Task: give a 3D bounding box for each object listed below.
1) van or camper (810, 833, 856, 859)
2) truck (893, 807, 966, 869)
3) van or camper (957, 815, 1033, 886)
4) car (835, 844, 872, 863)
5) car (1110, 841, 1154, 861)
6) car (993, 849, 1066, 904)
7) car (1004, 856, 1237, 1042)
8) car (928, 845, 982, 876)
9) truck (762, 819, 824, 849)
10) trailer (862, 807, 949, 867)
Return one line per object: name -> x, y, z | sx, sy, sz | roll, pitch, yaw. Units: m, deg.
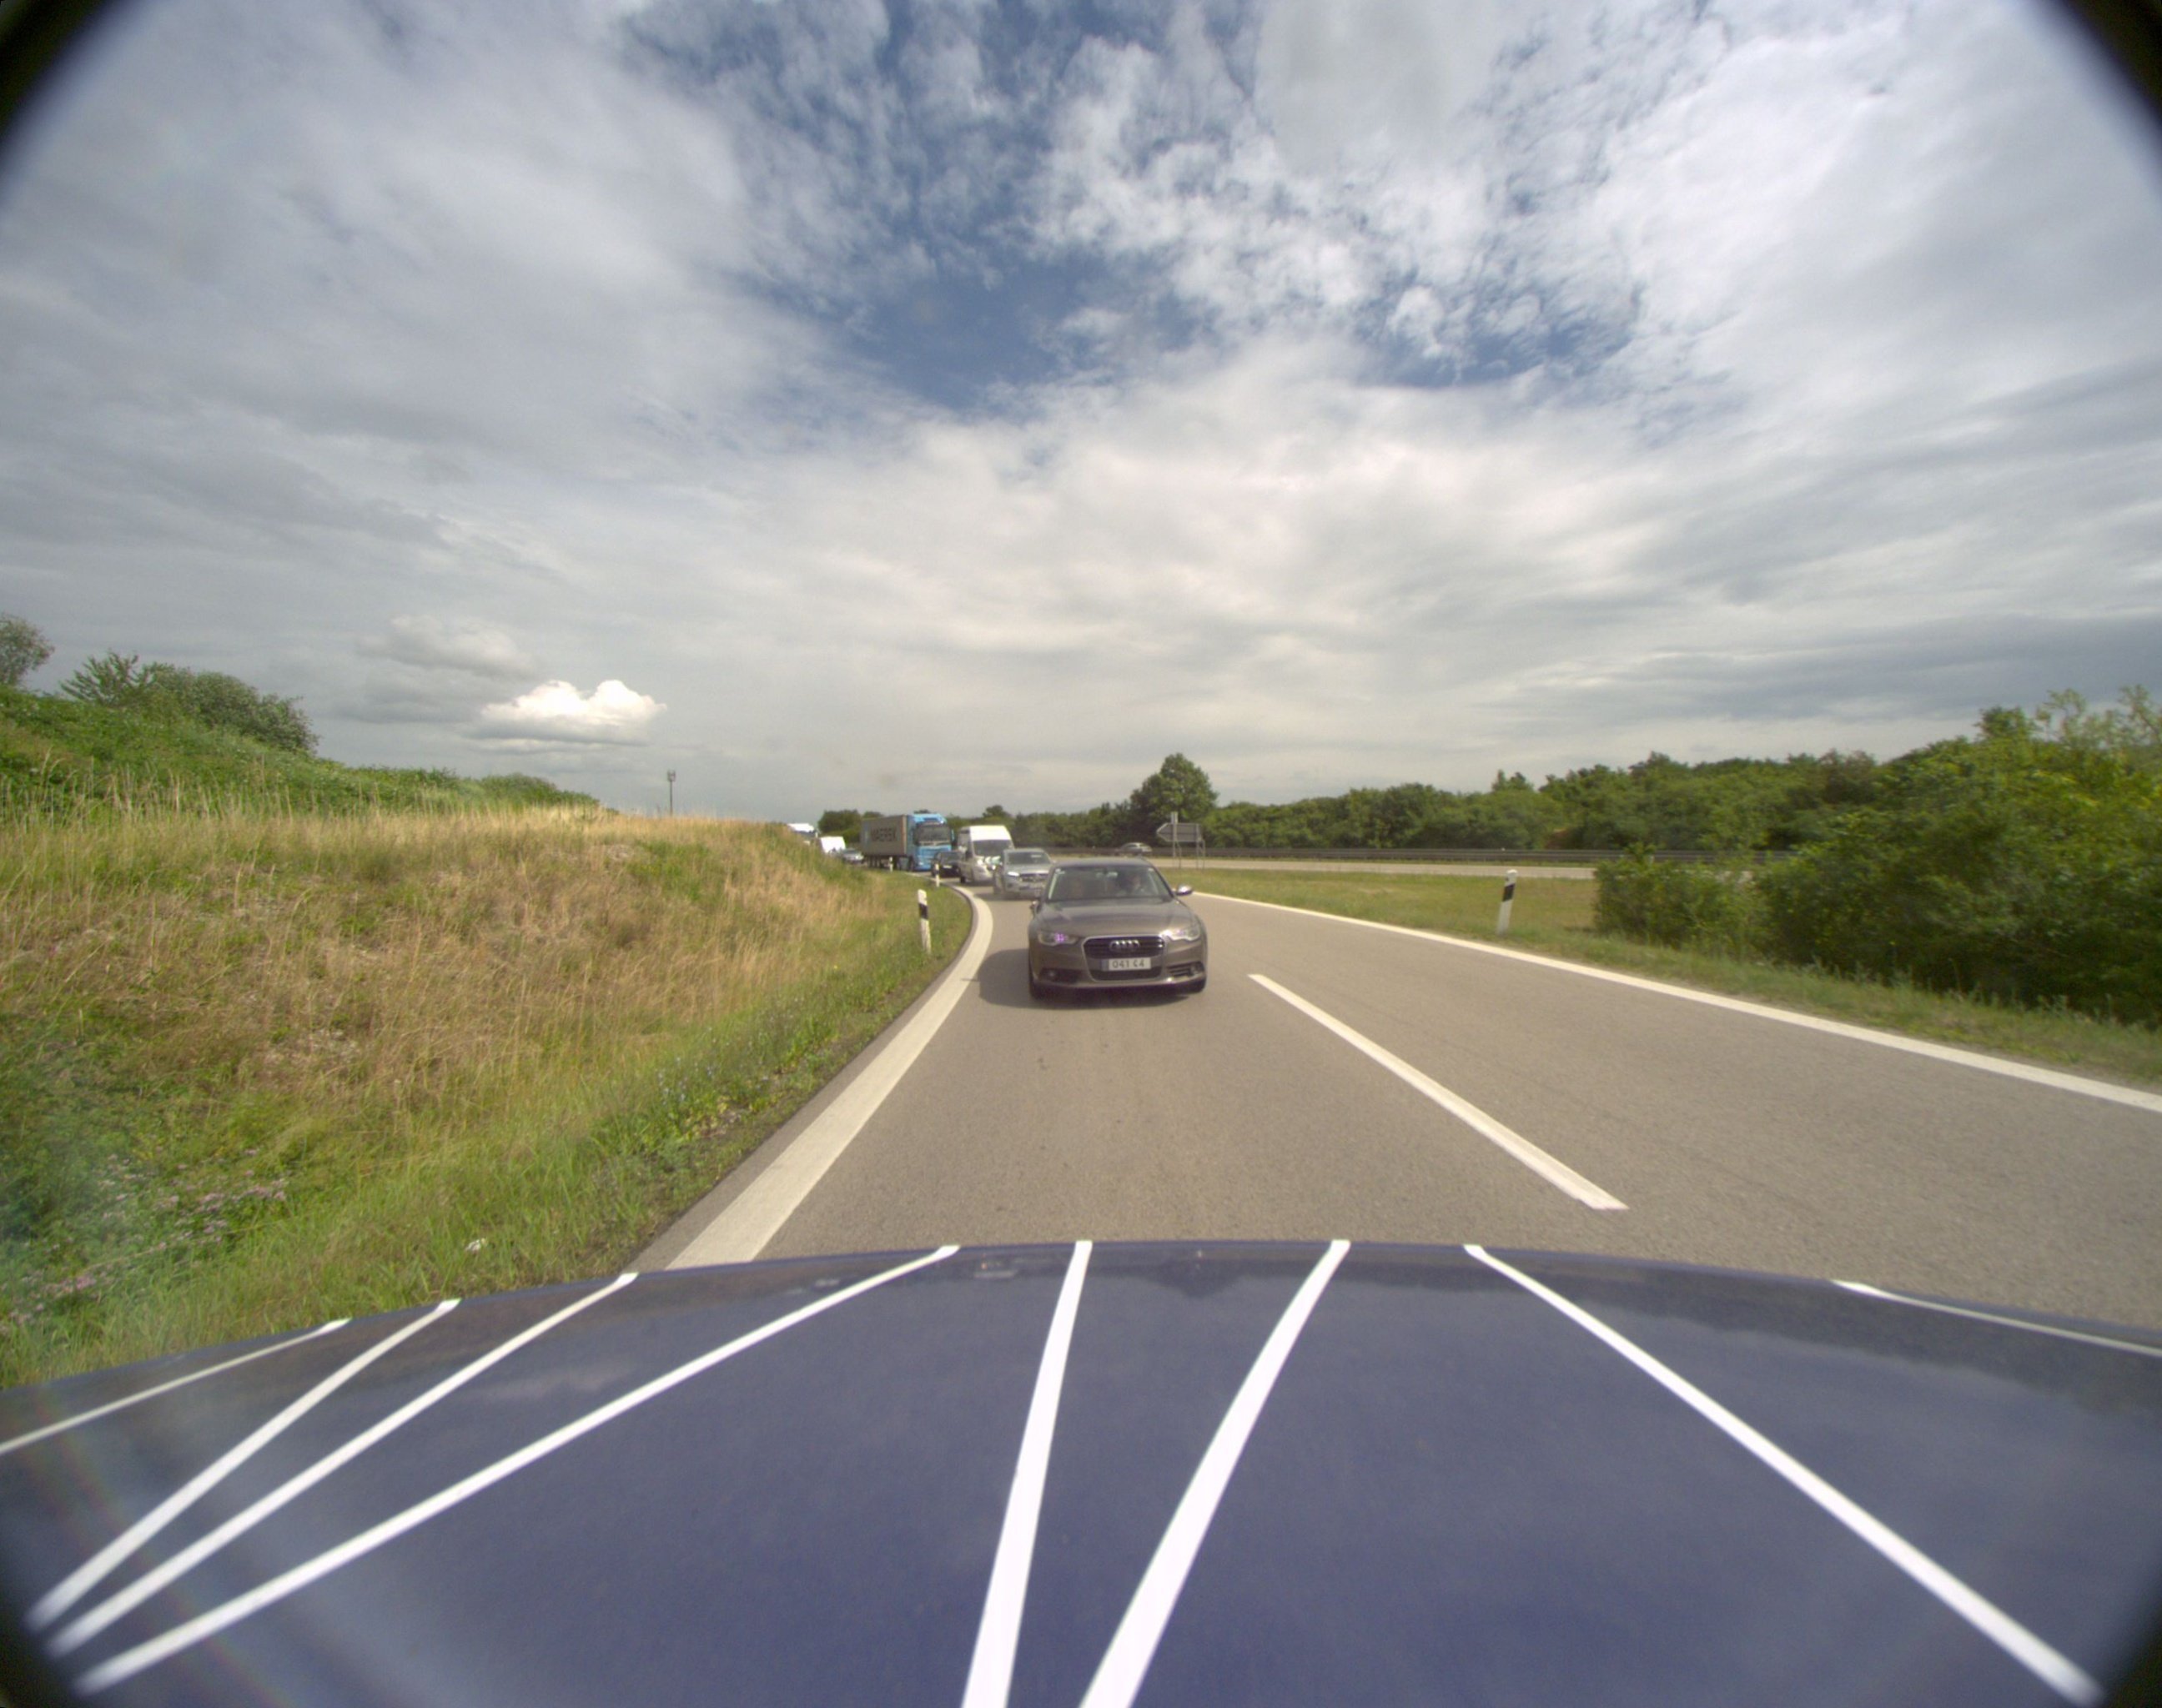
van or camper -> -24.393, -0.852, 74.559 | 2.558, 2.200, 5.692 | -4, 5, -37
truck -> -10.781, -1.090, 53.507 | 3.184, 4.050, 6.632 | -3, 1, -27
van or camper -> -4.062, -0.172, 34.840 | 2.401, 2.892, 5.712 | -3, 1, -16
car -> -20.886, -0.067, 69.721 | 2.003, 1.521, 3.988 | -3, 3, -35
car -> 5.066, -0.270, 75.666 | 1.848, 1.862, 4.195 | -3, 2, -41
car -> -1.786, 0.669, 25.152 | 1.844, 1.587, 4.168 | -1, 1, -12
car -> 0.148, 0.838, 8.998 | 2.000, 1.506, 4.535 | -2, 1, -6
car -> -7.205, 0.297, 43.175 | 2.002, 1.609, 3.991 | -1, 2, -25
truck -> -33.130, -2.177, 86.980 | 3.131, 3.221, 11.128 | -2, 2, -40
trailer -> -13.996, -1.223, 59.393 | 3.280, 4.138, 11.989 | -3, 1, -29
